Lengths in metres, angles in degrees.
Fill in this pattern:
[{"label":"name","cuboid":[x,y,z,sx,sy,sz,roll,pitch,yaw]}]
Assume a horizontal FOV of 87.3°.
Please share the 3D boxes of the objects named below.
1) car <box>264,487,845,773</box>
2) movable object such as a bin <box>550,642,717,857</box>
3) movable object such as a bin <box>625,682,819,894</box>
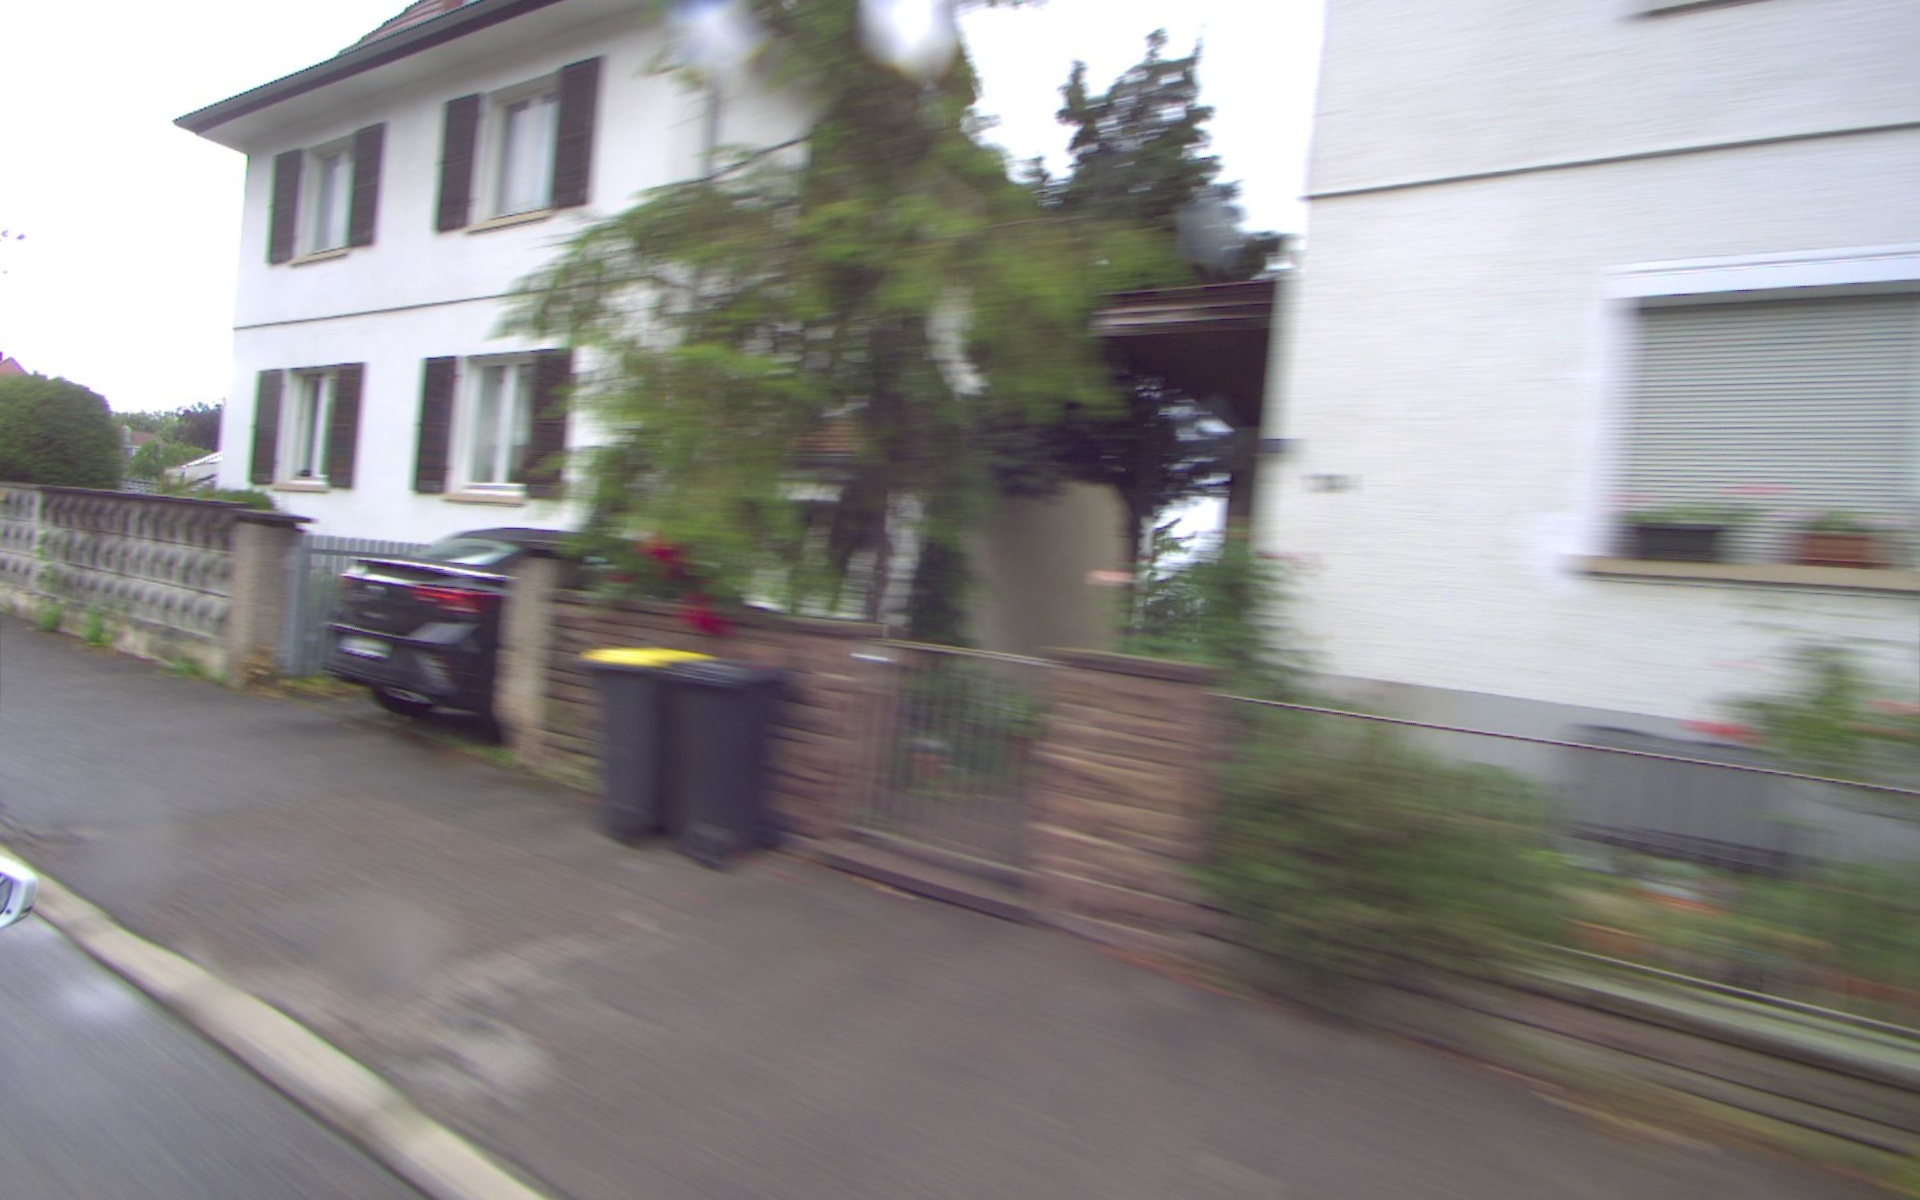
[{"label":"car","cuboid":[-3.026,0.311,8.364,1.886,1.659,3.994,8,-1,32]},{"label":"movable object such as a bin","cuboid":[-1.661,0.741,5.143,0.494,0.967,0.495,8,0,30]},{"label":"movable object such as a bin","cuboid":[-1.130,0.867,4.841,0.494,0.866,0.652,8,0,30]}]
